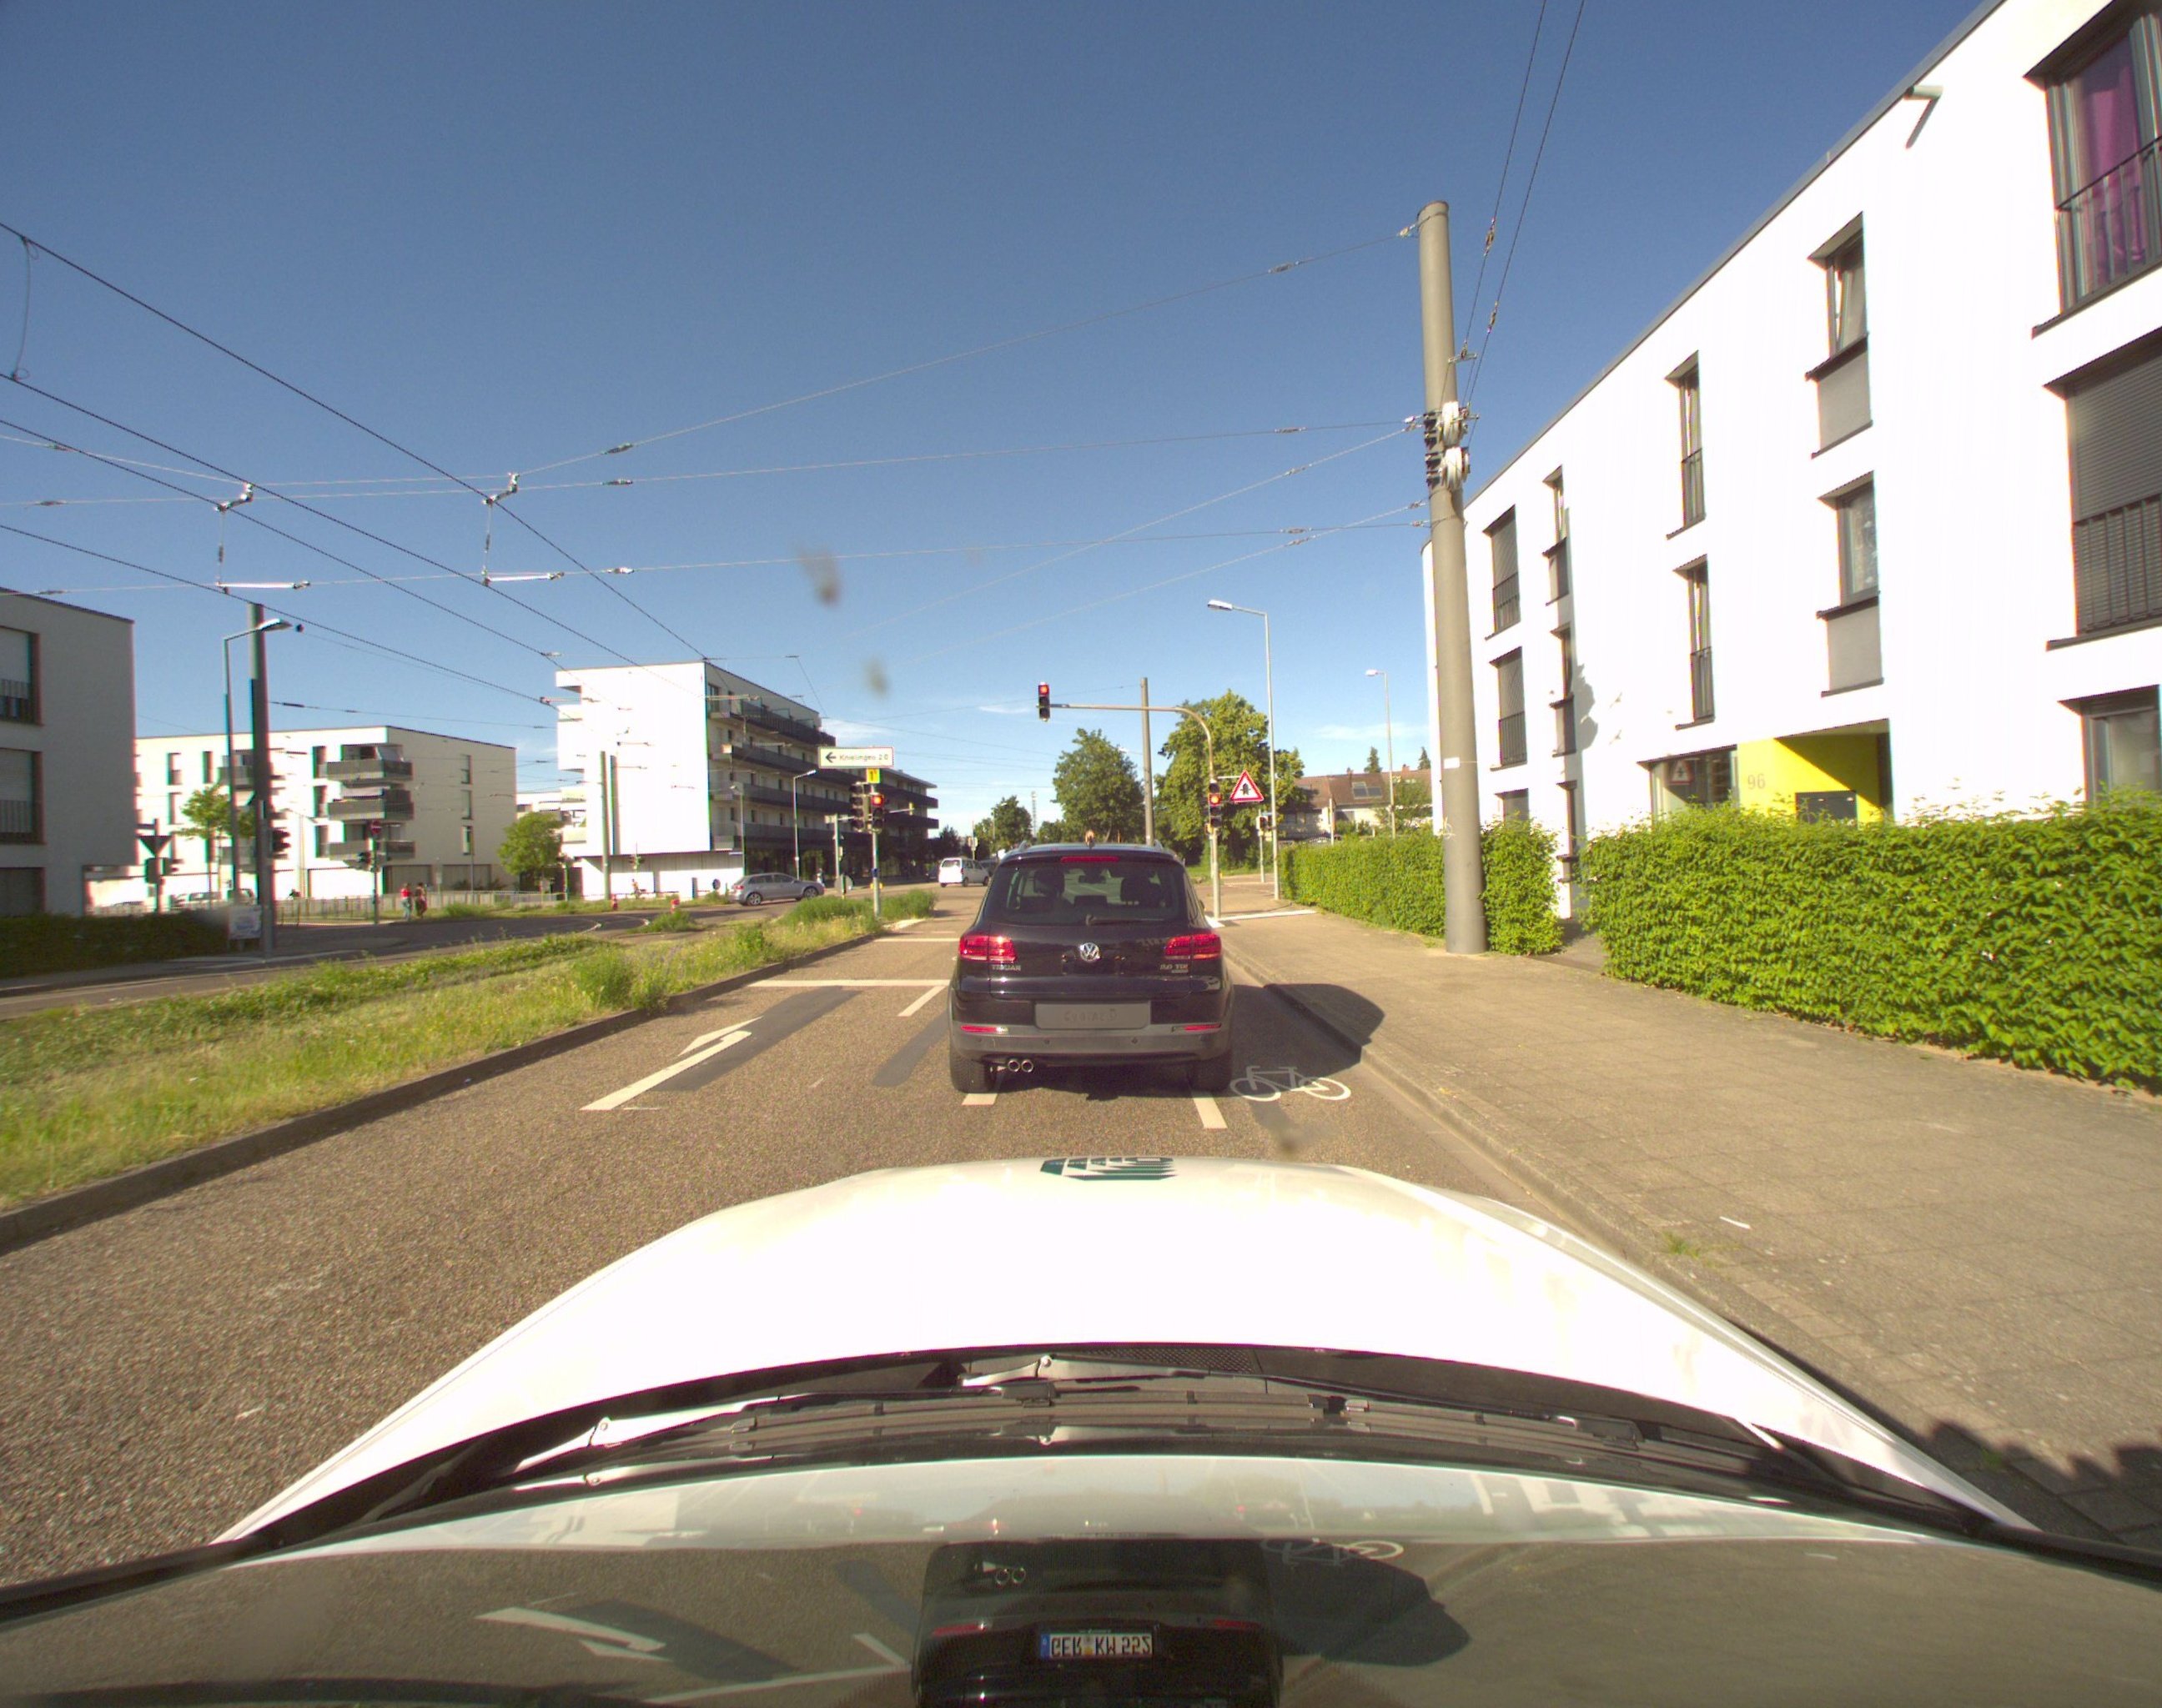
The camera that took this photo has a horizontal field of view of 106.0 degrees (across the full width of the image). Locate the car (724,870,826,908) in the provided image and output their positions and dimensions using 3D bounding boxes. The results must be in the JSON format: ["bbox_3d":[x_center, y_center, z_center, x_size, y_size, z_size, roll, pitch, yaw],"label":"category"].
[{"bbox_3d":[-14.272,1.599,38.064,4.128,1.485,1.849,-2,-1,-36],"label":"car"}]

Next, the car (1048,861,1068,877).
[{"bbox_3d":[-2.520,1.663,90.373,1.987,1.684,4.000,0,-1,0],"label":"car"}]

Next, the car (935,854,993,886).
[{"bbox_3d":[-6.721,0.908,47.158,1.849,1.720,3.703,-2,0,17],"label":"car"}]

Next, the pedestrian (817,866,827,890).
[{"bbox_3d":[-18.845,1.745,59.309,0.542,1.744,0.517,0,-1,-4],"label":"pedestrian"}]

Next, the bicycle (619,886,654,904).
[{"bbox_3d":[-28.948,2.665,53.054,0.812,1.124,1.873,-1,-1,36],"label":"bicycle"}]

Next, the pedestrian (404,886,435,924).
[{"bbox_3d":[-29.371,2.262,36.172,0.769,1.605,0.742,0,-1,-4],"label":"pedestrian"}]

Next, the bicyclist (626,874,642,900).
[{"bbox_3d":[-29.034,2.132,52.892,0.775,1.614,0.645,-1,-1,37],"label":"bicyclist"}]

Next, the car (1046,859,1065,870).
[{"bbox_3d":[-3.770,1.572,121.881,1.981,1.574,4.350,-1,-1,9],"label":"car"}]

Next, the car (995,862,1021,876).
[{"bbox_3d":[-8.518,1.765,95.034,1.981,1.574,4.350,-1,-1,9],"label":"car"}]

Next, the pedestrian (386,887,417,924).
[{"bbox_3d":[-30.171,2.268,36.169,0.769,1.605,0.742,0,-1,-4],"label":"pedestrian"}]

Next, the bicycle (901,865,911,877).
[{"bbox_3d":[-20.042,1.934,93.136,0.627,1.332,1.914,0,-1,3],"label":"bicycle"}]

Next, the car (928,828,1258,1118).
[{"bbox_3d":[0.128,0.691,6.623,1.862,1.637,4.001,0,-1,2],"label":"car"}]

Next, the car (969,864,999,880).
[{"bbox_3d":[-10.098,1.884,85.143,1.981,1.574,4.350,-1,-1,9],"label":"car"}]

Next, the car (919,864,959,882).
[{"bbox_3d":[-12.482,1.658,71.830,1.980,1.574,4.353,-1,-1,11],"label":"car"}]

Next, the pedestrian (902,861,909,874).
[{"bbox_3d":[-20.061,1.576,92.985,0.640,1.509,0.596,0,-1,3],"label":"pedestrian"}]

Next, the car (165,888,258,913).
[{"bbox_3d":[-58.909,3.163,55.201,4.305,1.574,2.002,0,-1,4],"label":"car"}]

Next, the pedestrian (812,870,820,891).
[{"bbox_3d":[-19.116,1.877,58.735,0.440,1.503,0.517,0,-1,-4],"label":"pedestrian"}]

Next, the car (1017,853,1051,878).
[{"bbox_3d":[-3.567,0.901,62.582,1.984,1.836,4.005,0,-1,5],"label":"car"}]
